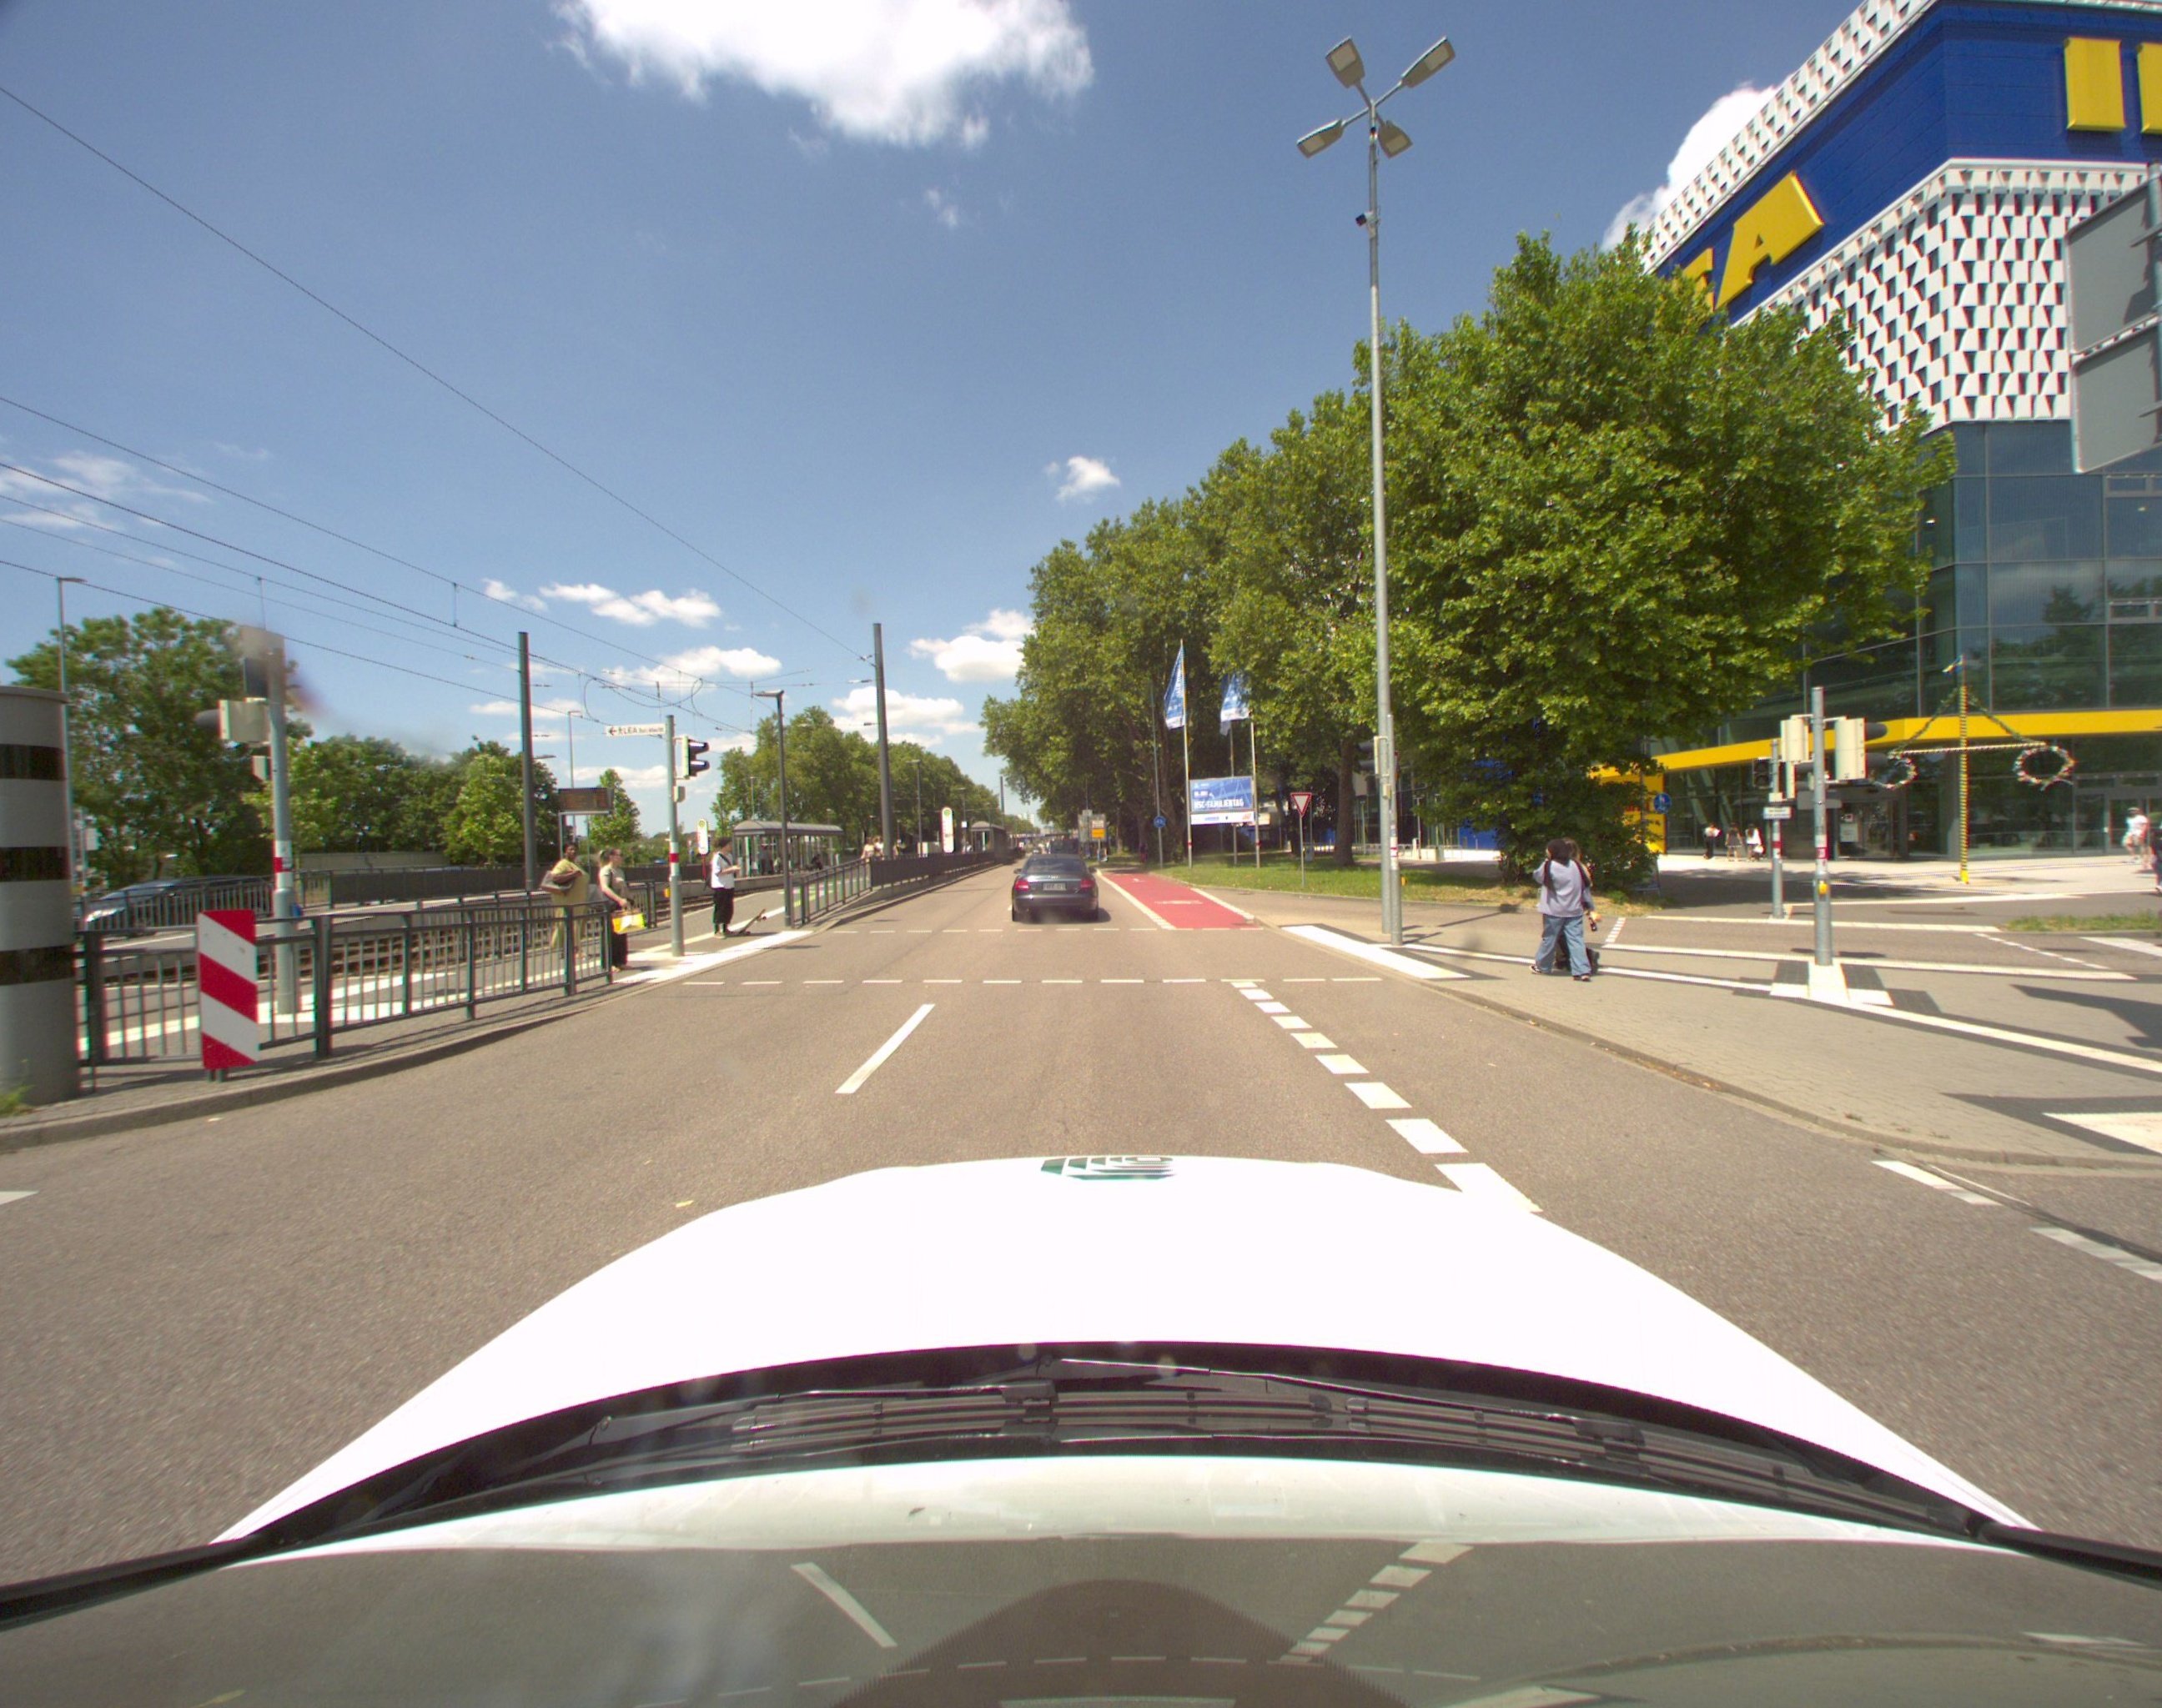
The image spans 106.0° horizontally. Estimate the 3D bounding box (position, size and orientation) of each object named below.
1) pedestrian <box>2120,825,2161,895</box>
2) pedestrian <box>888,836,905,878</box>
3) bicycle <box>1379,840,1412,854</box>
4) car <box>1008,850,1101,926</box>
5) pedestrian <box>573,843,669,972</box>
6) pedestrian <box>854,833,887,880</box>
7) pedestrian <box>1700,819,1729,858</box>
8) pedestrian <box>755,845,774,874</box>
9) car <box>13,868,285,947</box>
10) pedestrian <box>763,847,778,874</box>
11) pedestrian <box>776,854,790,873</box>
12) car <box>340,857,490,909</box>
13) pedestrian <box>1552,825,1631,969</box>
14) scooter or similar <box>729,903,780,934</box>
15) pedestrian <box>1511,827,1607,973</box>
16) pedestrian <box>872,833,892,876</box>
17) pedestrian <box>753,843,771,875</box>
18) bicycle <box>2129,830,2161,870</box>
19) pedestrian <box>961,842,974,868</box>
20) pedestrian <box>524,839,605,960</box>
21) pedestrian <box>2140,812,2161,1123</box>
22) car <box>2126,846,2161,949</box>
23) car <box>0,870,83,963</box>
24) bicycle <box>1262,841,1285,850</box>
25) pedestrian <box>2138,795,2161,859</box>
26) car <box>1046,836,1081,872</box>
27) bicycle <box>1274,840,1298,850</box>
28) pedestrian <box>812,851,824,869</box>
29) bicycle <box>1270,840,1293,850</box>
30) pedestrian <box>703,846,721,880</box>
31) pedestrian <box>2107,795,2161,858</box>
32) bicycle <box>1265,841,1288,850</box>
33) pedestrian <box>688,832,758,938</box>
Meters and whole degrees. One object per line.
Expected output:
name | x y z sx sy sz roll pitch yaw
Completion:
pedestrian | 24.880 0.124 18.961 0.609 1.586 0.632 -1 0 -7
pedestrian | -6.991 0.110 30.821 0.496 1.577 0.556 -2 0 -3
bicycle | 23.039 -0.523 59.647 2.057 0.969 0.867 -1 1 -6
car | -0.651 0.664 18.214 1.839 1.484 3.995 -1 1 -4
pedestrian | -5.887 0.659 10.466 0.784 1.572 0.763 -1 0 -5
pedestrian | -7.371 0.086 28.553 0.888 1.605 0.923 -1 1 -3
pedestrian | 28.951 -0.717 37.203 0.775 1.735 0.743 -1 1 11
pedestrian | -18.341 0.324 47.197 0.817 1.638 0.582 -1 1 36
car | -23.462 1.265 20.820 1.987 1.629 4.280 -1 1 0
pedestrian | -18.285 0.375 47.970 0.575 1.533 0.639 -2 1 -1
pedestrian | -18.249 0.591 49.854 0.575 1.094 0.639 -2 1 -1
car | -23.357 0.952 28.777 1.987 1.629 3.999 -1 0 0
pedestrian | 6.201 0.503 9.927 0.618 1.683 0.729 -1 0 16
scooter or similar | -5.910 1.166 14.759 0.725 0.506 0.456 -1 1 -5
pedestrian | 5.555 0.508 9.520 0.759 1.606 0.900 -1 0 16
pedestrian | -7.870 0.004 32.178 0.612 1.681 0.719 -1 0 -4
pedestrian | -17.919 0.276 45.768 0.729 1.728 0.582 -1 1 36
bicycle | 31.492 -0.114 22.872 0.801 1.145 2.421 -2 1 -15
pedestrian | -7.349 0.069 52.689 0.731 1.665 0.741 -1 1 -3
pedestrian | -7.414 0.627 11.719 0.731 1.673 0.677 -1 0 -5
pedestrian | 6.025 0.607 4.107 0.525 1.666 0.640 -1 0 3
car | 16.723 0.589 10.117 4.267 1.418 1.742 0 0 27
car | -20.448 1.178 13.833 1.987 1.629 3.999 -1 1 0
bicycle | 23.252 -1.007 98.321 2.542 0.970 0.757 -1 1 -7
pedestrian | 34.128 -0.848 25.600 0.793 2.013 0.734 -1 1 6
car | -0.953 -0.021 46.778 1.842 1.959 4.144 -1 0 0
bicycle | 23.814 -1.005 94.712 2.542 1.110 0.757 -1 1 -7
pedestrian | -18.536 0.422 57.422 0.575 1.190 0.639 -2 1 -1
bicycle | 23.624 -1.005 95.789 2.542 1.110 0.757 -1 1 -7
pedestrian | -18.179 0.430 40.166 0.557 1.638 0.804 -1 0 -9
pedestrian | 34.430 -0.885 26.640 0.792 2.013 0.735 -1 1 10
bicycle | 23.344 -1.006 97.055 2.542 1.110 0.757 -1 1 -7
pedestrian | -6.325 0.522 14.430 0.861 1.802 0.882 -1 0 -5
